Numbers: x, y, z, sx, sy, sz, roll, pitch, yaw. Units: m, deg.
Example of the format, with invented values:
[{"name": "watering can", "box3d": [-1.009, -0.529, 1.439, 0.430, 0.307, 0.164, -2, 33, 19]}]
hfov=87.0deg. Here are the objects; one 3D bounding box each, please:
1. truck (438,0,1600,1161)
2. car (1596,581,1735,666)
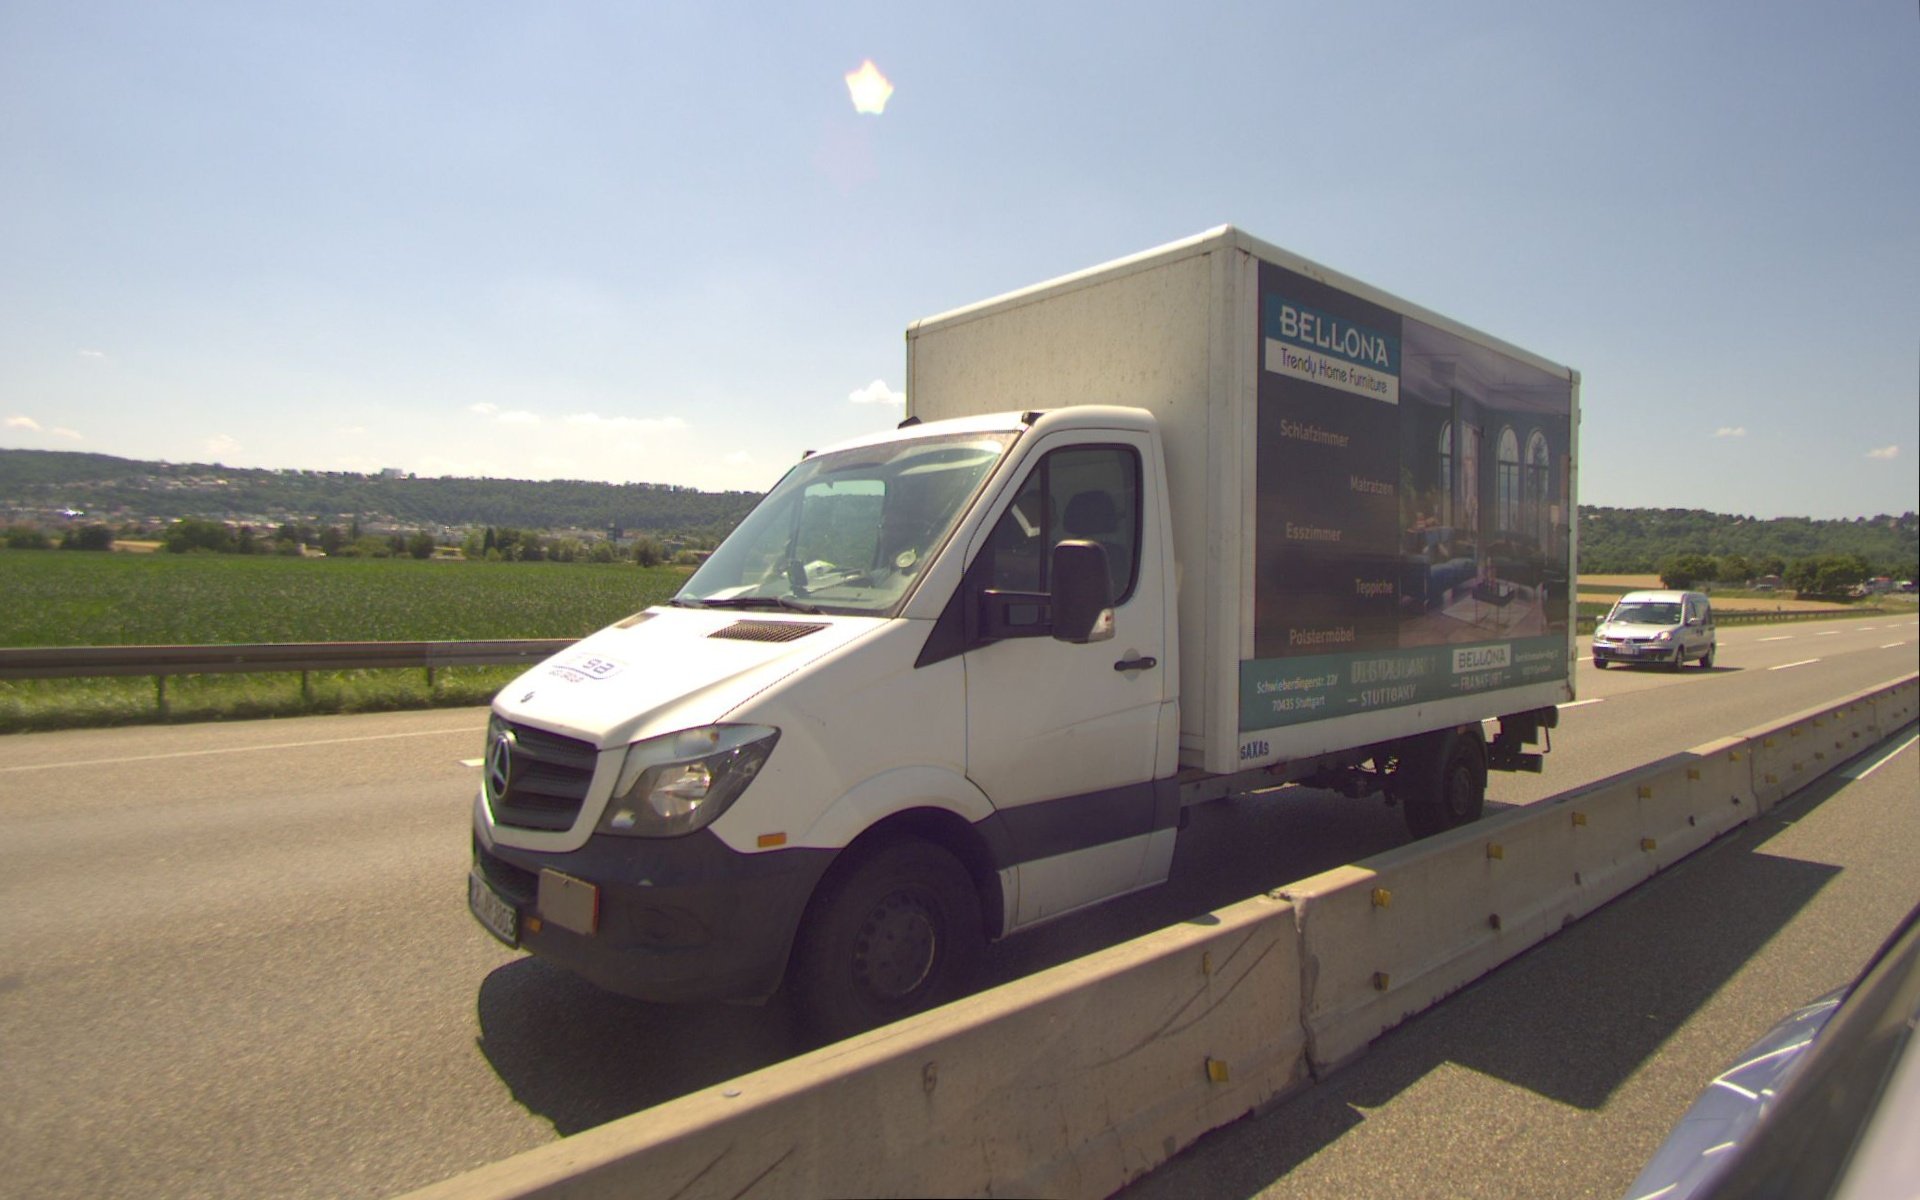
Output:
[{"name": "truck", "box3d": [1.070, -0.163, 5.566, 6.632, 3.106, 2.325, 1, 0, -41]}, {"name": "car", "box3d": [15.945, 0.489, 22.815, 3.902, 1.759, 1.630, 1, 0, -40]}]
